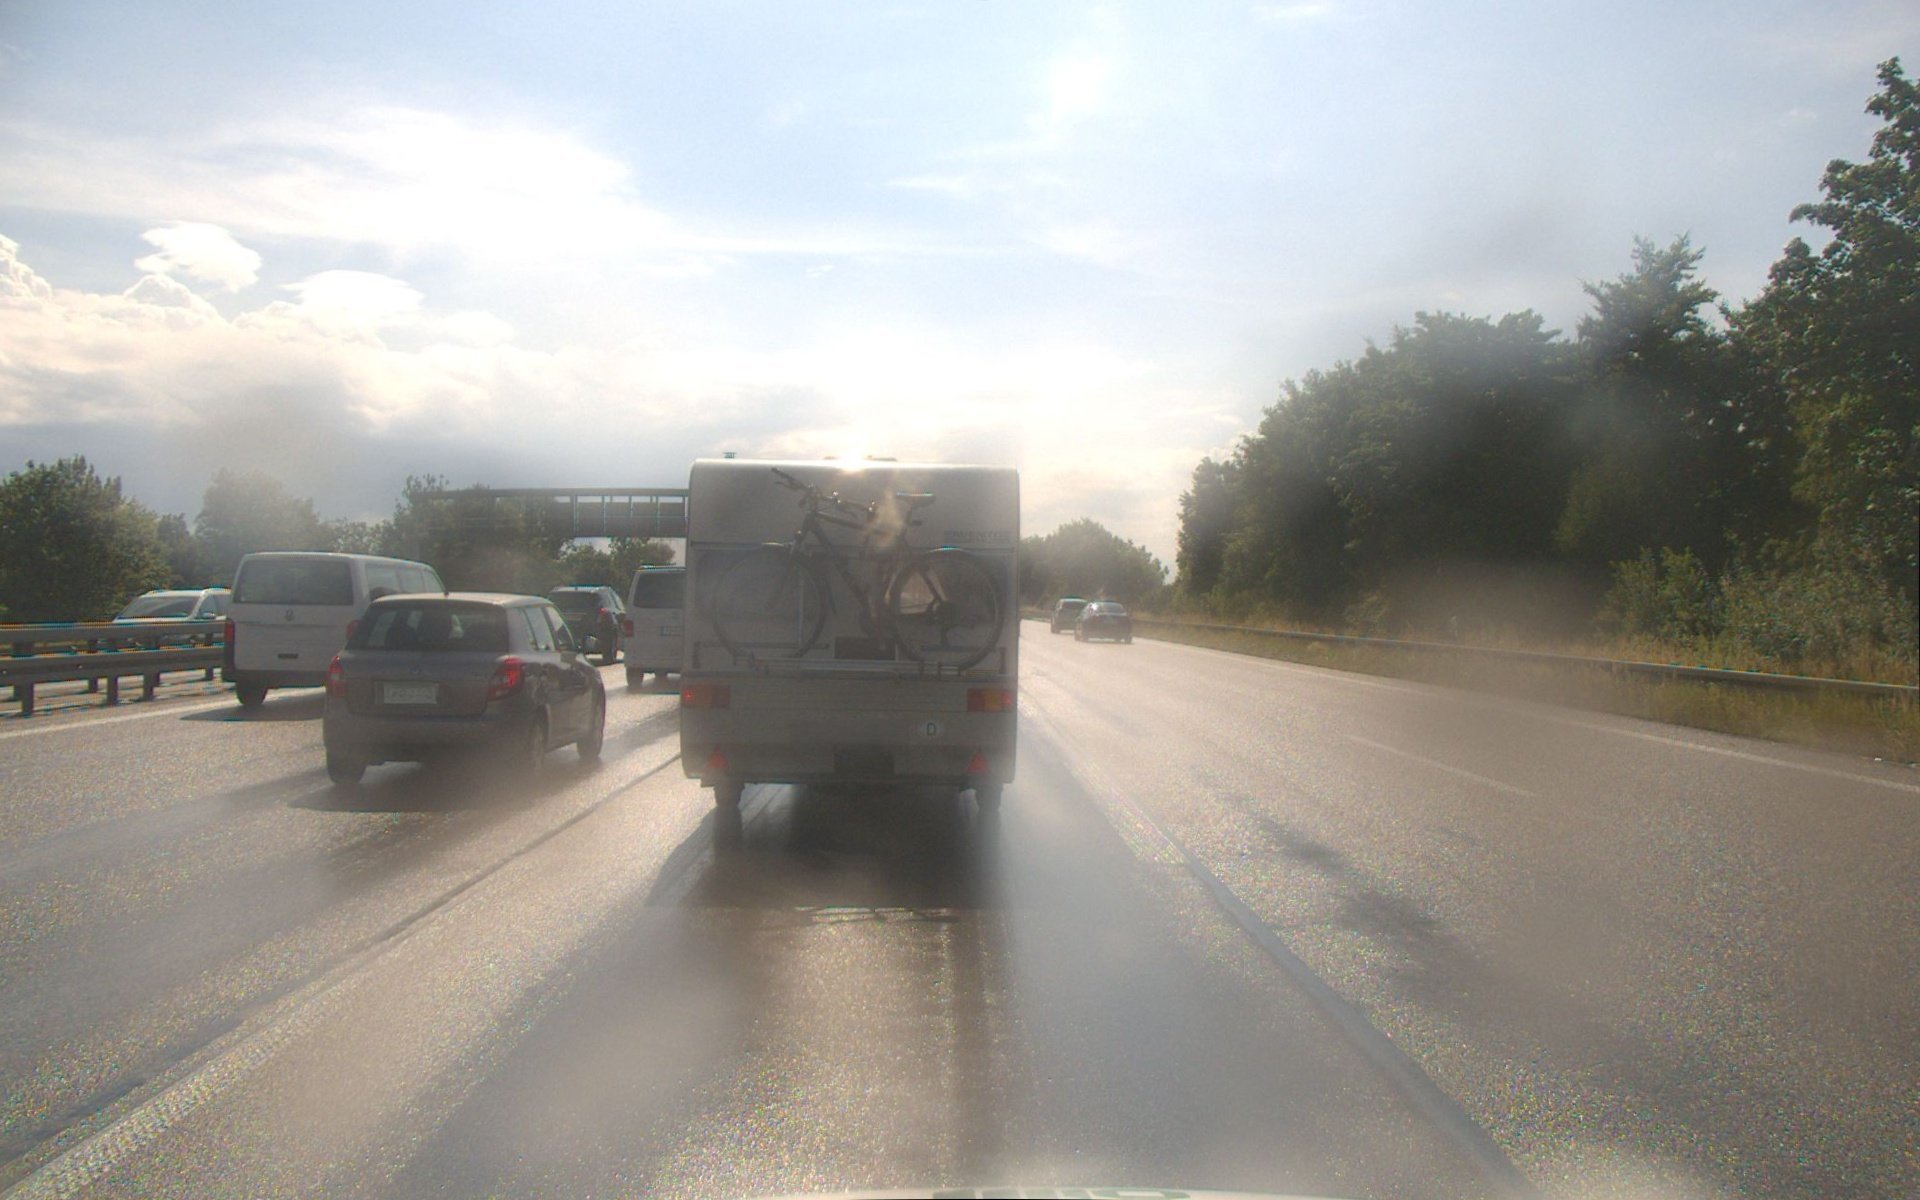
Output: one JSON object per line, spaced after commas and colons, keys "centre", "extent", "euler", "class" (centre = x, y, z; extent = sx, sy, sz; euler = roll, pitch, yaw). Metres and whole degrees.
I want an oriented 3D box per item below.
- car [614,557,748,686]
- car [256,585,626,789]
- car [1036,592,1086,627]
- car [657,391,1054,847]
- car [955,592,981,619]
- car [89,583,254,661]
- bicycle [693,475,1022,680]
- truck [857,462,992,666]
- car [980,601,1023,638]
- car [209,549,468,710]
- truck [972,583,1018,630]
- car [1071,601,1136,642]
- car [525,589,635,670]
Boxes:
{"centre": [-4.753, 0.352, 28.692], "extent": [1.839, 2.049, 3.997], "euler": [1, 0, -4], "class": "car"}
{"centre": [-4.200, 0.639, 14.084], "extent": [1.947, 1.483, 3.826], "euler": [1, 0, 0], "class": "car"}
{"centre": [4.880, 0.453, 80.558], "extent": [1.840, 1.657, 3.996], "euler": [1, 0, -5], "class": "car"}
{"centre": [-0.645, 0.127, 12.034], "extent": [2.361, 2.721, 3.999], "euler": [1, 0, -1], "class": "car"}
{"centre": [0.500, 0.357, 109.160], "extent": [1.684, 1.713, 4.000], "euler": [1, 0, 0], "class": "car"}
{"centre": [-16.386, 0.432, 34.594], "extent": [1.664, 1.512, 3.998], "euler": [1, 0, -3], "class": "car"}
{"centre": [-0.596, -0.128, 9.834], "extent": [1.894, 1.161, 0.384], "euler": [1, -1, -1], "class": "bicycle"}
{"centre": [-1.014, -0.825, 43.806], "extent": [3.083, 4.707, 10.731], "euler": [1, 0, -2], "class": "truck"}
{"centre": [1.835, 0.880, 74.902], "extent": [1.798, 1.585, 3.999], "euler": [1, 0, 0], "class": "car"}
{"centre": [-8.448, 0.361, 23.017], "extent": [1.810, 1.967, 5.014], "euler": [1, 0, -2], "class": "car"}
{"centre": [1.885, 0.324, 91.760], "extent": [2.366, 2.486, 6.052], "euler": [1, 0, 0], "class": "truck"}
{"centre": [5.512, 0.813, 63.961], "extent": [1.840, 1.521, 3.996], "euler": [1, 0, -5], "class": "car"}
{"centre": [-8.448, 0.627, 37.100], "extent": [1.736, 1.691, 3.997], "euler": [1, 0, -4], "class": "car"}
